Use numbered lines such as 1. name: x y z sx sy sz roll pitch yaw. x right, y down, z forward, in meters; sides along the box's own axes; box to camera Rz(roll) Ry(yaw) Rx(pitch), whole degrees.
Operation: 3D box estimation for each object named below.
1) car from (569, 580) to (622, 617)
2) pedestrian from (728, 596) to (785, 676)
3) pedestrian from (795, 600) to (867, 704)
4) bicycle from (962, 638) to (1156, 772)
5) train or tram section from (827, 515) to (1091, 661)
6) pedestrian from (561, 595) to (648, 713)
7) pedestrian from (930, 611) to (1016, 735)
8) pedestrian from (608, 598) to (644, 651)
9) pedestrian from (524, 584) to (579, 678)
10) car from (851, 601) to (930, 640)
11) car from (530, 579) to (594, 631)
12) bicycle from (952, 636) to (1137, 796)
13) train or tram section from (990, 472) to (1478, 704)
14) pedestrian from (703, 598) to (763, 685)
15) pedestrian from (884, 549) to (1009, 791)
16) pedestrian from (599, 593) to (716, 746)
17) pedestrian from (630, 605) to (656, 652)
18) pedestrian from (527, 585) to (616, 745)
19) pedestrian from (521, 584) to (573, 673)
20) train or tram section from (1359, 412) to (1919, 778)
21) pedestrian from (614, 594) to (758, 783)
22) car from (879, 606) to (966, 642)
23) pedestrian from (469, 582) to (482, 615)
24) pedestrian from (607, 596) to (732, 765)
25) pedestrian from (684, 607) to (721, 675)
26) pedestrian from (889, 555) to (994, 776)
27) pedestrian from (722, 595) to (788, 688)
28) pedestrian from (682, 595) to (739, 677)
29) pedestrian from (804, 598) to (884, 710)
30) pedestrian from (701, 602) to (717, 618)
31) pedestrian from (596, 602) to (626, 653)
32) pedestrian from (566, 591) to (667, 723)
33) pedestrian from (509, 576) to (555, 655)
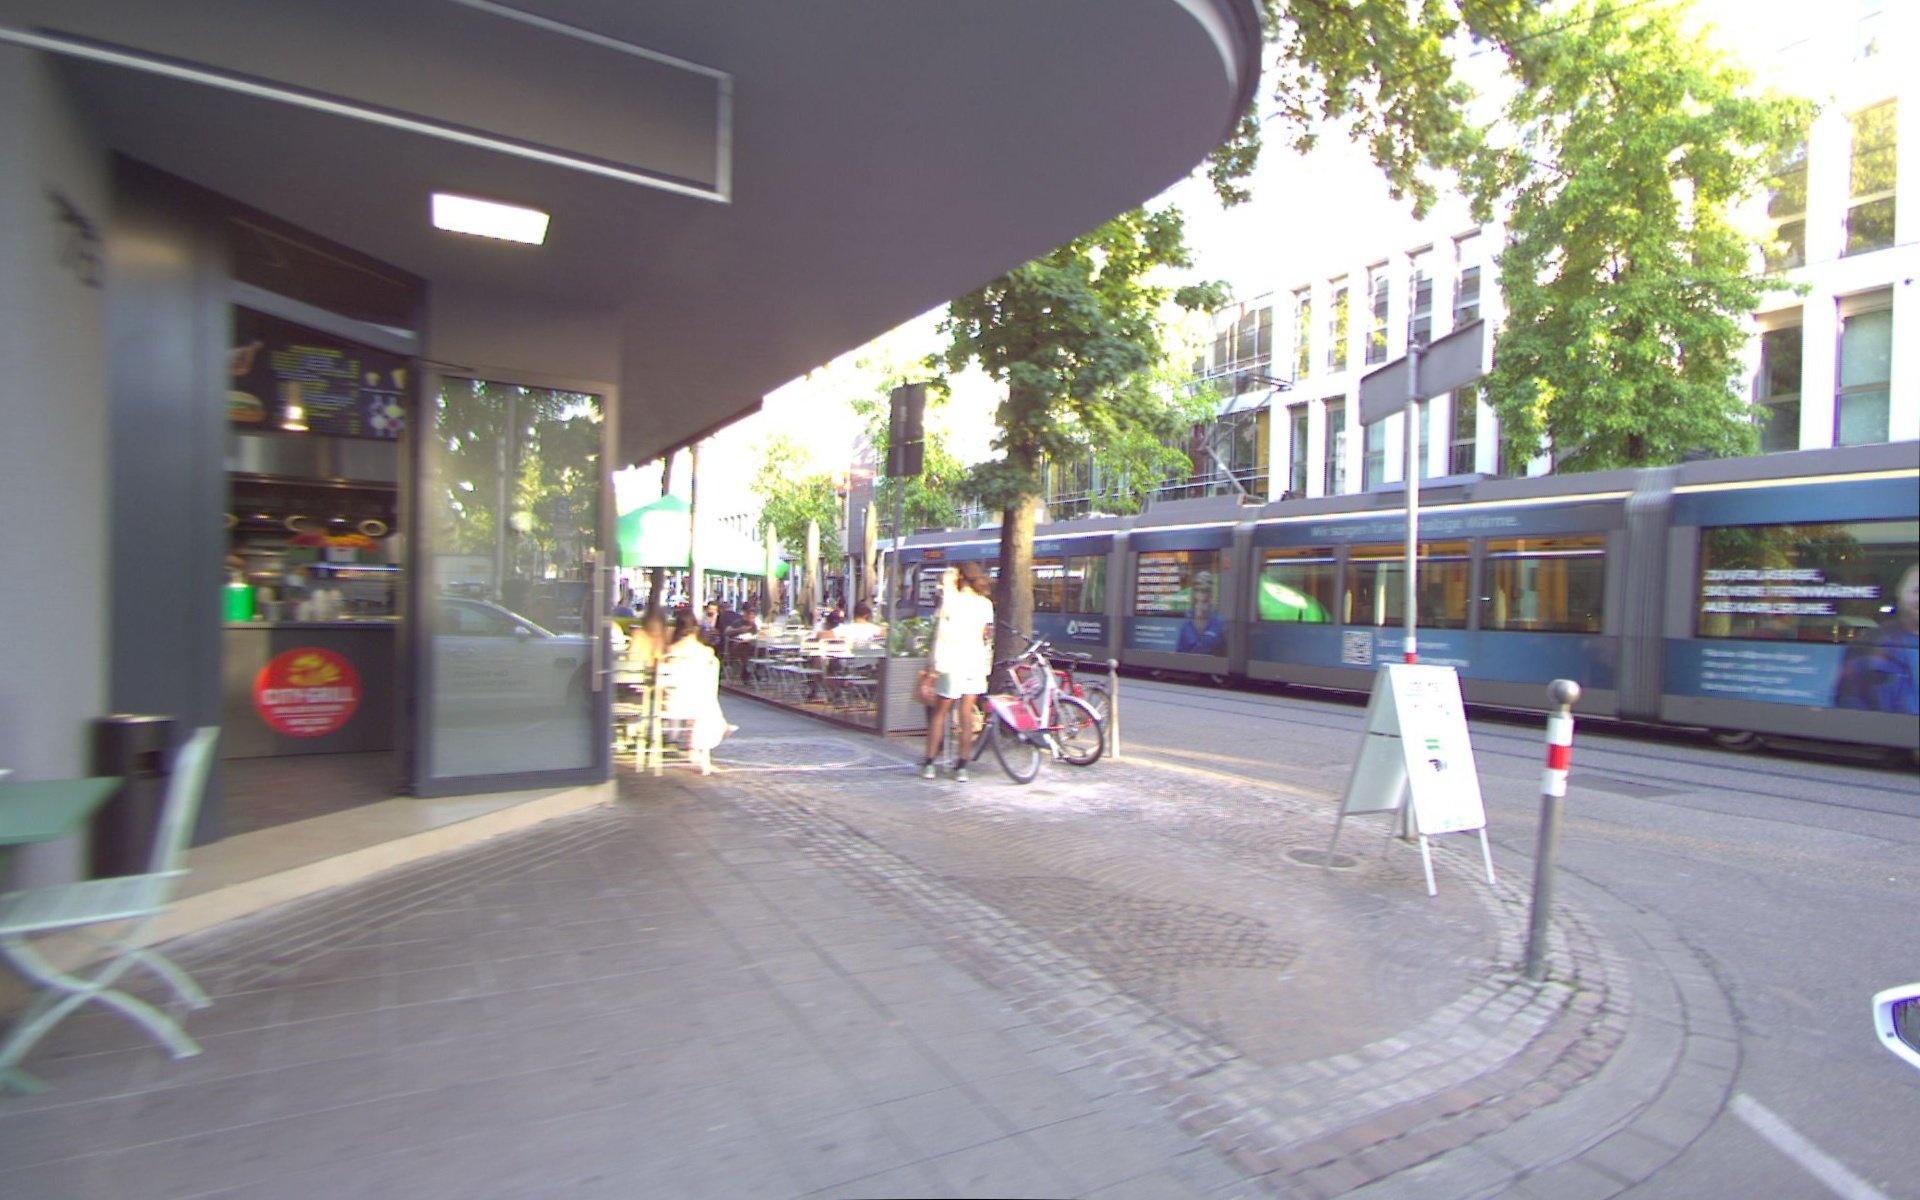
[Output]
1. car: -20.934 -0.078 57.535 1.977 2.003 4.809 2 -1 -31
2. pedestrian: -3.642 0.634 17.919 0.709 1.380 1.004 2 -1 -28
3. pedestrian: -1.803 0.708 13.986 0.709 1.380 0.865 2 -1 -28
4. bicycle: 0.967 0.959 9.546 1.847 1.154 0.621 3 -2 -33
5. train or tram section: -0.525 -0.264 30.066 3.019 3.570 10.446 3 -1 -30
6. pedestrian: -4.225 0.628 11.912 0.839 1.337 0.876 2 -1 -26
7. pedestrian: 0.145 0.838 11.825 0.687 1.395 0.787 2 -1 -28
8. pedestrian: -8.284 0.620 24.915 0.702 1.281 0.595 2 -1 -30
9. pedestrian: -6.268 0.471 15.407 0.649 1.396 0.759 2 -1 -30
10. car: -3.314 0.949 48.756 1.886 1.660 4.201 0 2 28
11. car: -15.775 0.228 39.666 1.778 1.842 4.482 4 -2 -28
12. bicycle: 0.763 0.897 8.404 0.767 1.154 1.863 1 -2 32
13. train or tram section: 4.740 -0.154 20.839 2.978 3.570 10.758 2 -1 -30
14. pedestrian: -3.754 0.675 16.559 0.709 1.380 0.918 2 -1 -28
15. pedestrian: -0.093 0.520 7.813 0.630 1.764 0.780 1 -1 29
16. pedestrian: -2.841 0.632 9.403 0.877 1.337 0.875 2 -1 -27
17. pedestrian: -8.810 0.799 27.909 0.546 1.283 0.636 2 -1 -29
18. pedestrian: -3.441 0.555 8.878 0.616 1.337 0.836 2 -1 -27
19. pedestrian: -6.710 0.462 16.319 0.649 1.396 0.759 2 -1 -30
20. train or tram section: 9.994 -0.004 11.667 2.982 3.570 10.318 2 -1 -30
21. pedestrian: -2.117 0.649 7.709 0.877 1.337 0.875 2 -1 -27
22. car: -1.708 1.063 46.626 1.834 1.477 4.169 0 1 36
23. pedestrian: -25.346 -0.081 52.579 0.505 1.683 0.607 3 -2 -28
24. pedestrian: -2.478 0.654 8.527 0.839 1.337 0.876 2 -1 -26
25. pedestrian: -4.790 0.766 18.687 0.538 1.234 0.507 2 -1 -28
26. pedestrian: -0.143 0.534 8.531 0.629 1.764 0.782 1 -1 18
27. pedestrian: -3.166 0.624 15.457 0.709 1.380 1.004 2 -1 -28
28. pedestrian: -4.330 0.617 17.409 0.709 1.380 1.004 2 -1 -28
29. pedestrian: -1.514 0.682 13.031 0.709 1.380 0.918 2 -1 -28
30. pedestrian: -21.001 0.855 84.186 1.102 1.346 0.919 0 1 -30
31. pedestrian: -9.546 0.761 27.467 0.638 1.363 0.725 2 -1 -29
32. pedestrian: -3.694 0.597 10.768 0.877 1.337 0.875 2 -1 -27
33. pedestrian: -7.841 0.283 18.406 0.649 1.396 0.759 2 -1 -30
